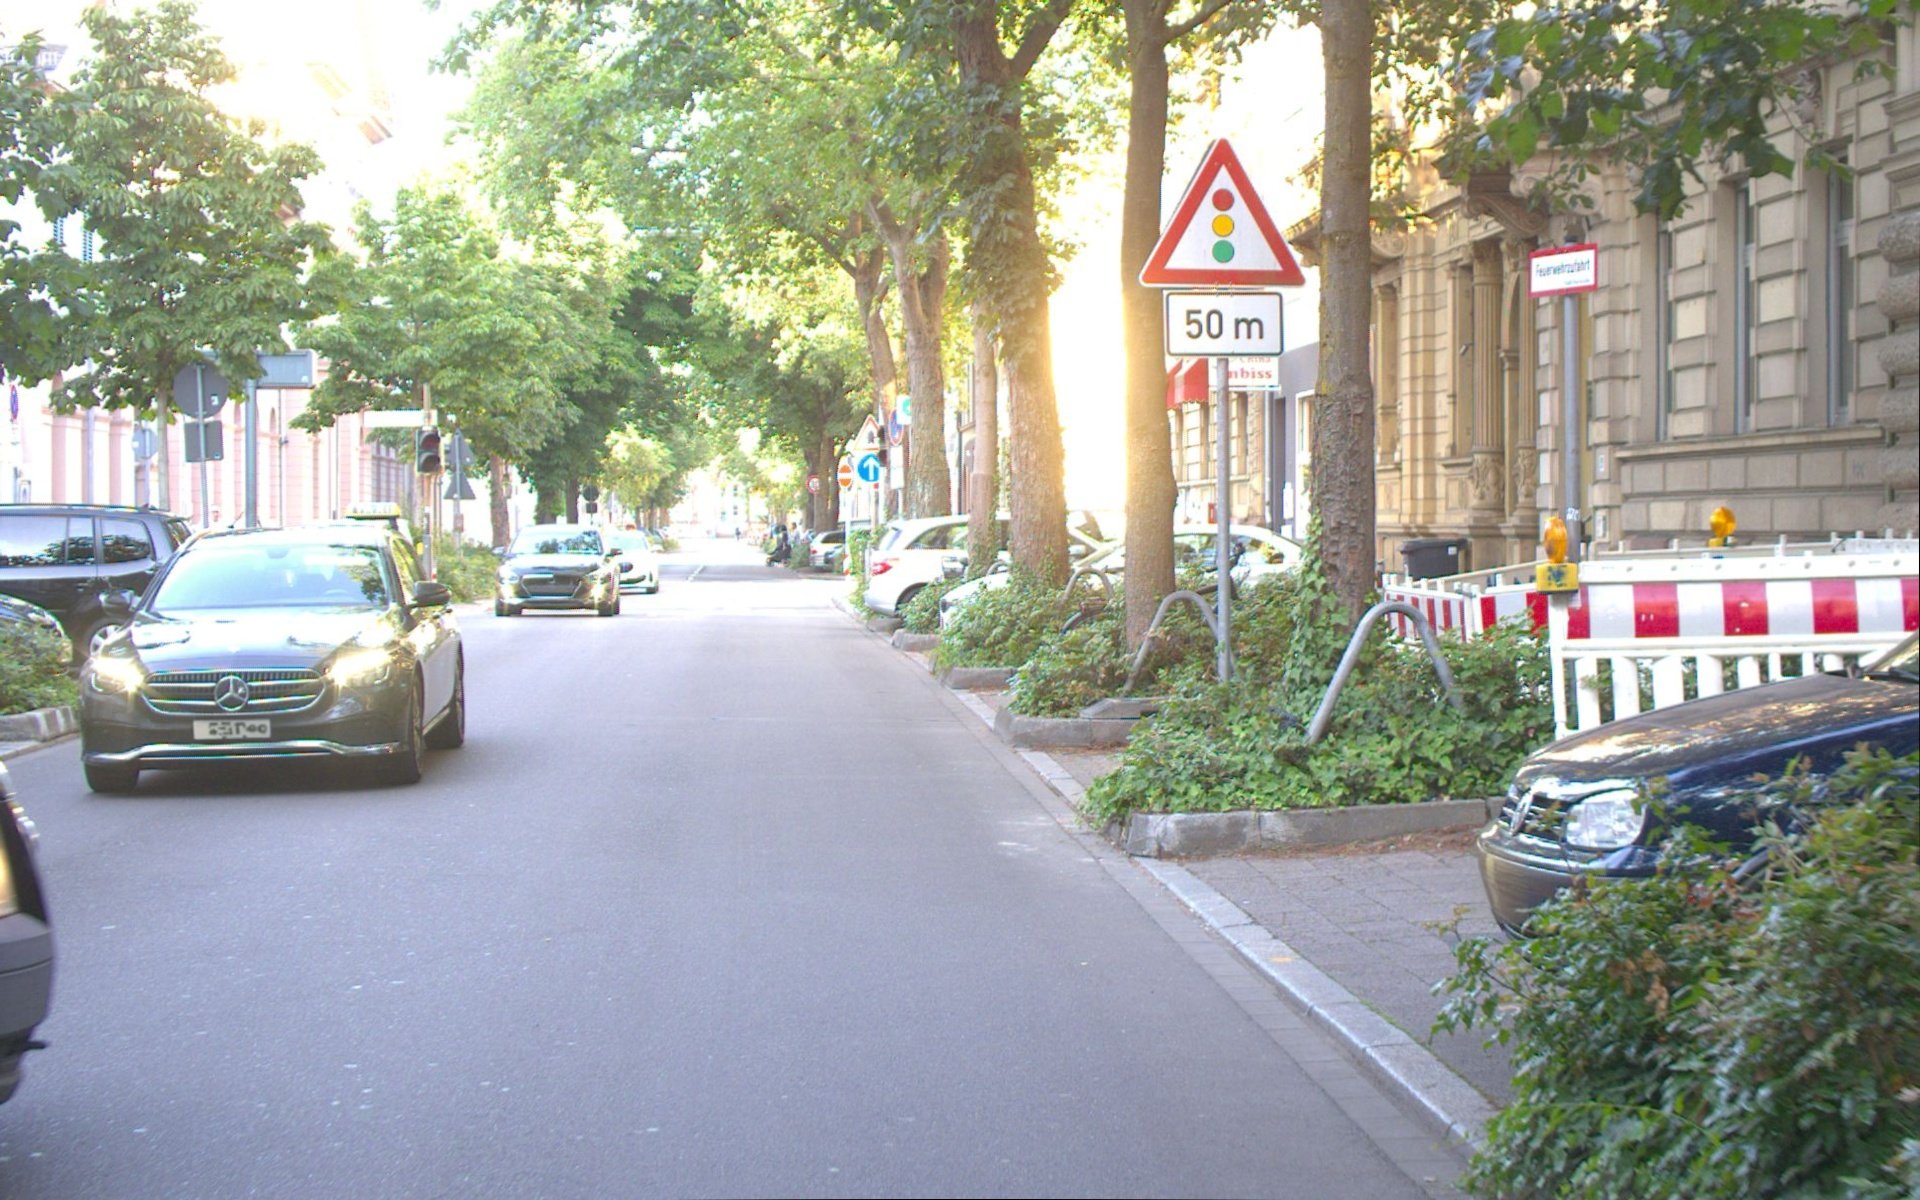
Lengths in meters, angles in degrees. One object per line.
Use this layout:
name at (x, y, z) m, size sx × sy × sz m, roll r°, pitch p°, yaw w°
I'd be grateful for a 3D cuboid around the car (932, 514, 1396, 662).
car at (2.032, -0.143, 35.223) m, size 4.583 × 1.432 × 1.925 m, roll 0°, pitch 1°, yaw -1°

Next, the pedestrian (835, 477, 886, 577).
pedestrian at (-2.170, -1.590, 74.991) m, size 1.043 × 2.139 × 1.064 m, roll 1°, pitch 0°, yaw -3°

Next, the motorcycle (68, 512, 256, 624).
motorcycle at (-10.272, -0.412, 44.280) m, size 2.150 × 1.414 × 0.967 m, roll 0°, pitch 1°, yaw 18°

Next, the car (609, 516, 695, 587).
car at (-7.026, -1.129, 78.535) m, size 1.876 × 1.543 × 4.276 m, roll -1°, pitch 1°, yaw -5°

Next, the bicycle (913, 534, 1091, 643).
bicycle at (0.501, -0.142, 40.786) m, size 2.019 × 1.200 × 0.488 m, roll -2°, pitch 1°, yaw -16°

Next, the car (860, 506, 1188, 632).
car at (0.826, -0.429, 45.450) m, size 4.224 × 1.555 × 1.971 m, roll -1°, pitch 2°, yaw 0°

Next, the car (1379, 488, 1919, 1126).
car at (3.420, 0.403, 9.268) m, size 4.223 × 1.476 × 1.855 m, roll -3°, pitch 1°, yaw -3°

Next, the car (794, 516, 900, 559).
car at (-4.372, -2.420, 132.606) m, size 4.014 × 1.617 × 1.781 m, roll -1°, pitch 1°, yaw -4°

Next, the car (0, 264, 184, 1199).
car at (-4.307, 0.313, 7.085) m, size 4.989 × 1.984 × 2.190 m, roll -1°, pitch 2°, yaw -22°

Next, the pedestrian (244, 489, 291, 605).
pedestrian at (-11.157, -0.855, 55.397) m, size 0.554 × 1.844 × 0.611 m, roll 0°, pitch 1°, yaw 11°

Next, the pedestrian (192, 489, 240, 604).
pedestrian at (-12.011, -0.862, 55.532) m, size 0.554 × 1.844 × 0.611 m, roll 0°, pitch 1°, yaw 11°

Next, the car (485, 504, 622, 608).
car at (-6.334, -0.712, 53.905) m, size 1.876 × 1.543 × 4.276 m, roll -1°, pitch 1°, yaw -4°

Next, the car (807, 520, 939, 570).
car at (-2.847, -1.794, 111.542) m, size 4.192 × 1.475 × 1.852 m, roll -2°, pitch 1°, yaw -3°

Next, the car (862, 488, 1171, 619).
car at (0.836, -0.732, 53.070) m, size 4.539 × 1.908 × 1.951 m, roll -1°, pitch 1°, yaw -6°

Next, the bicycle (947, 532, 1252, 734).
bicycle at (0.969, 0.227, 24.041) m, size 2.046 × 1.356 × 0.508 m, roll 1°, pitch 1°, yaw -5°

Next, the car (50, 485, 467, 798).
car at (-4.049, 0.162, 20.559) m, size 1.876 × 1.635 × 4.647 m, roll -1°, pitch 1°, yaw -5°

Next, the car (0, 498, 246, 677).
car at (-9.034, -0.154, 32.741) m, size 4.092 × 1.626 × 1.936 m, roll 1°, pitch 1°, yaw -2°

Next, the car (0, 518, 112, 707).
car at (-8.986, 0.029, 27.286) m, size 4.074 × 1.435 × 1.755 m, roll 2°, pitch 1°, yaw -2°
